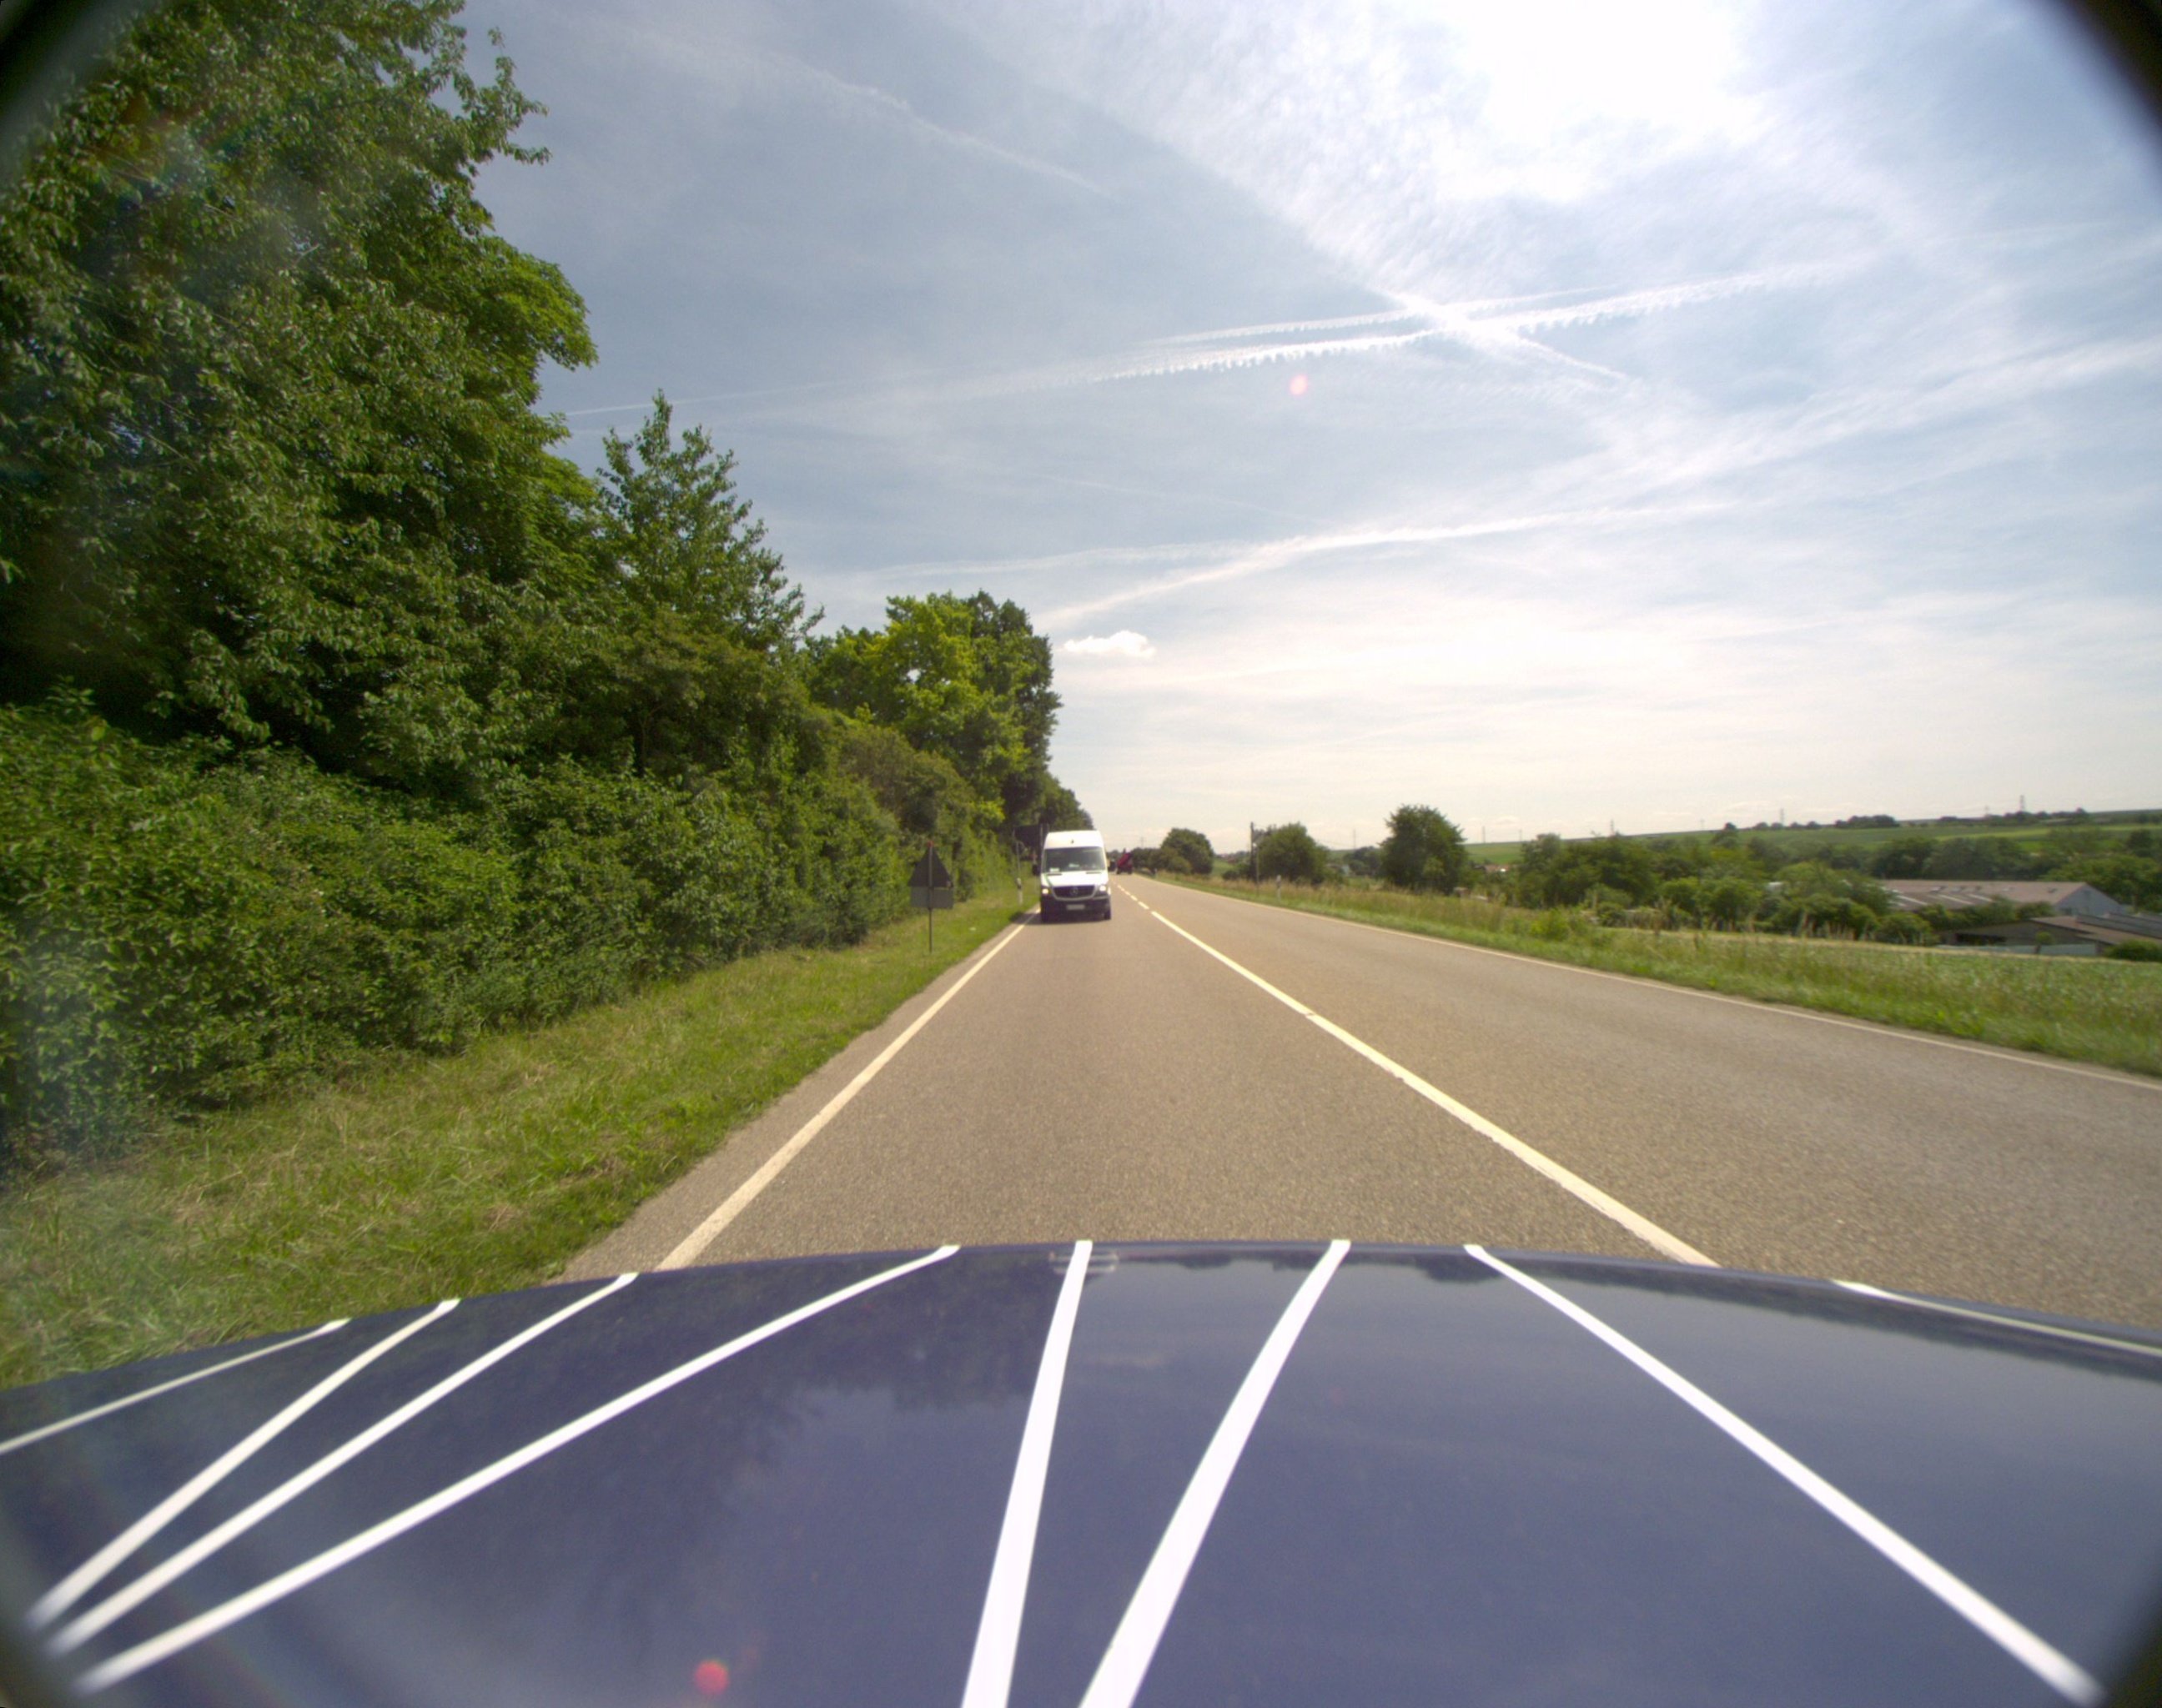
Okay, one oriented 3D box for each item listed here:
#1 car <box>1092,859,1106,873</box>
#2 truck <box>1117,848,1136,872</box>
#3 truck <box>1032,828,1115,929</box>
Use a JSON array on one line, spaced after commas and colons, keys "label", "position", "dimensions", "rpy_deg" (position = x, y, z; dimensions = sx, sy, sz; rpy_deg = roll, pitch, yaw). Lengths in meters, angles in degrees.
[{"label": "car", "position": [2.684, 1.728, 112.927], "dimensions": [1.998, 2.002, 4.000], "rpy_deg": [2, 0, 0]}, {"label": "truck", "position": [7.254, 1.025, 122.095], "dimensions": [2.762, 3.554, 11.069], "rpy_deg": [1, -1, 3]}, {"label": "truck", "position": [-0.051, 0.671, 23.608], "dimensions": [2.022, 2.567, 7.227], "rpy_deg": [-2, 0, 3]}]
